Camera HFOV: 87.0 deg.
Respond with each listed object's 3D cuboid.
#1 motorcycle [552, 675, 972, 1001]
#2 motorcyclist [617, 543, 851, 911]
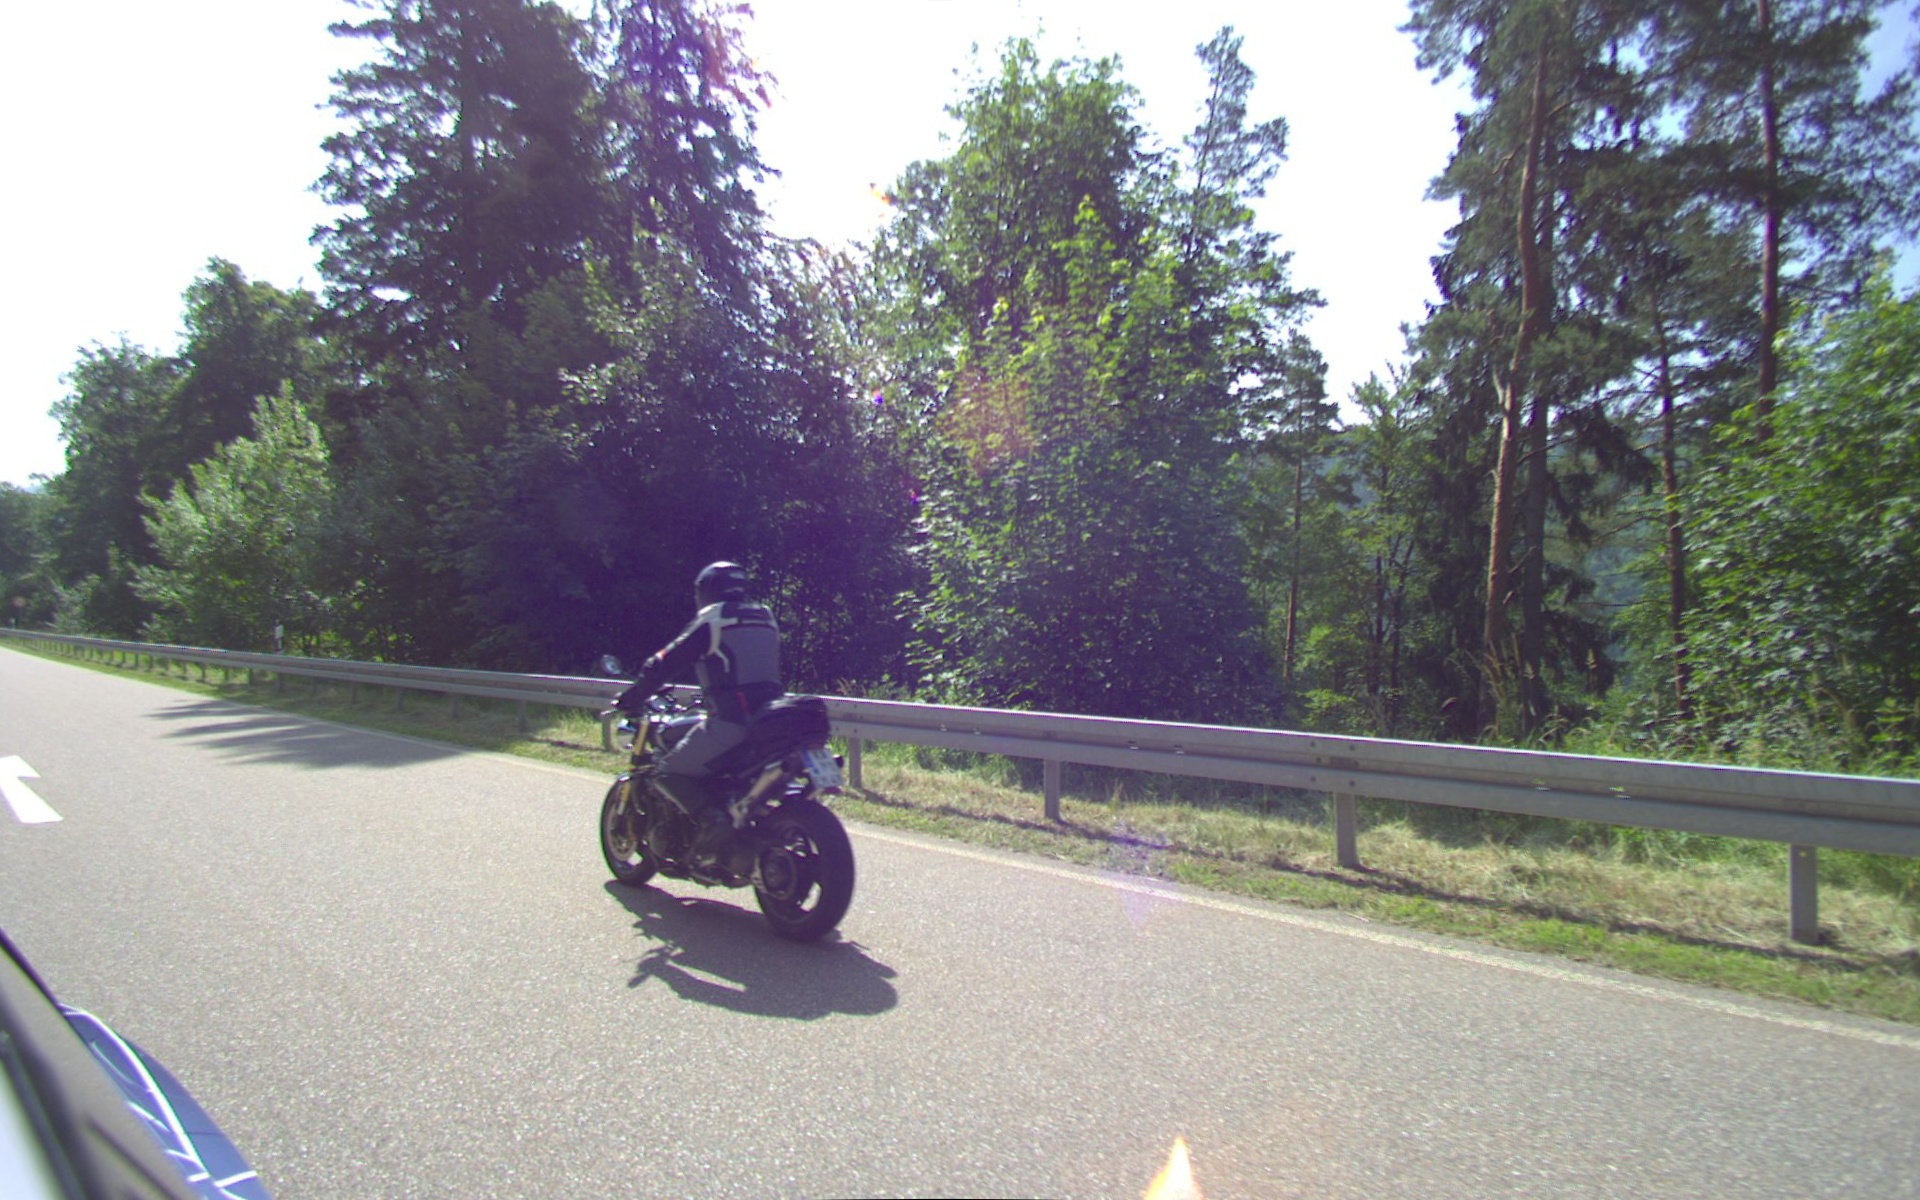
[{"bbox_3d":[-0.997,0.950,4.754,1.963,1.079,0.974,-1,-1,43],"label":"motorcycle"},{"bbox_3d":[-1.074,0.535,4.760,0.933,1.524,0.651,-2,-2,42],"label":"motorcyclist"}]
